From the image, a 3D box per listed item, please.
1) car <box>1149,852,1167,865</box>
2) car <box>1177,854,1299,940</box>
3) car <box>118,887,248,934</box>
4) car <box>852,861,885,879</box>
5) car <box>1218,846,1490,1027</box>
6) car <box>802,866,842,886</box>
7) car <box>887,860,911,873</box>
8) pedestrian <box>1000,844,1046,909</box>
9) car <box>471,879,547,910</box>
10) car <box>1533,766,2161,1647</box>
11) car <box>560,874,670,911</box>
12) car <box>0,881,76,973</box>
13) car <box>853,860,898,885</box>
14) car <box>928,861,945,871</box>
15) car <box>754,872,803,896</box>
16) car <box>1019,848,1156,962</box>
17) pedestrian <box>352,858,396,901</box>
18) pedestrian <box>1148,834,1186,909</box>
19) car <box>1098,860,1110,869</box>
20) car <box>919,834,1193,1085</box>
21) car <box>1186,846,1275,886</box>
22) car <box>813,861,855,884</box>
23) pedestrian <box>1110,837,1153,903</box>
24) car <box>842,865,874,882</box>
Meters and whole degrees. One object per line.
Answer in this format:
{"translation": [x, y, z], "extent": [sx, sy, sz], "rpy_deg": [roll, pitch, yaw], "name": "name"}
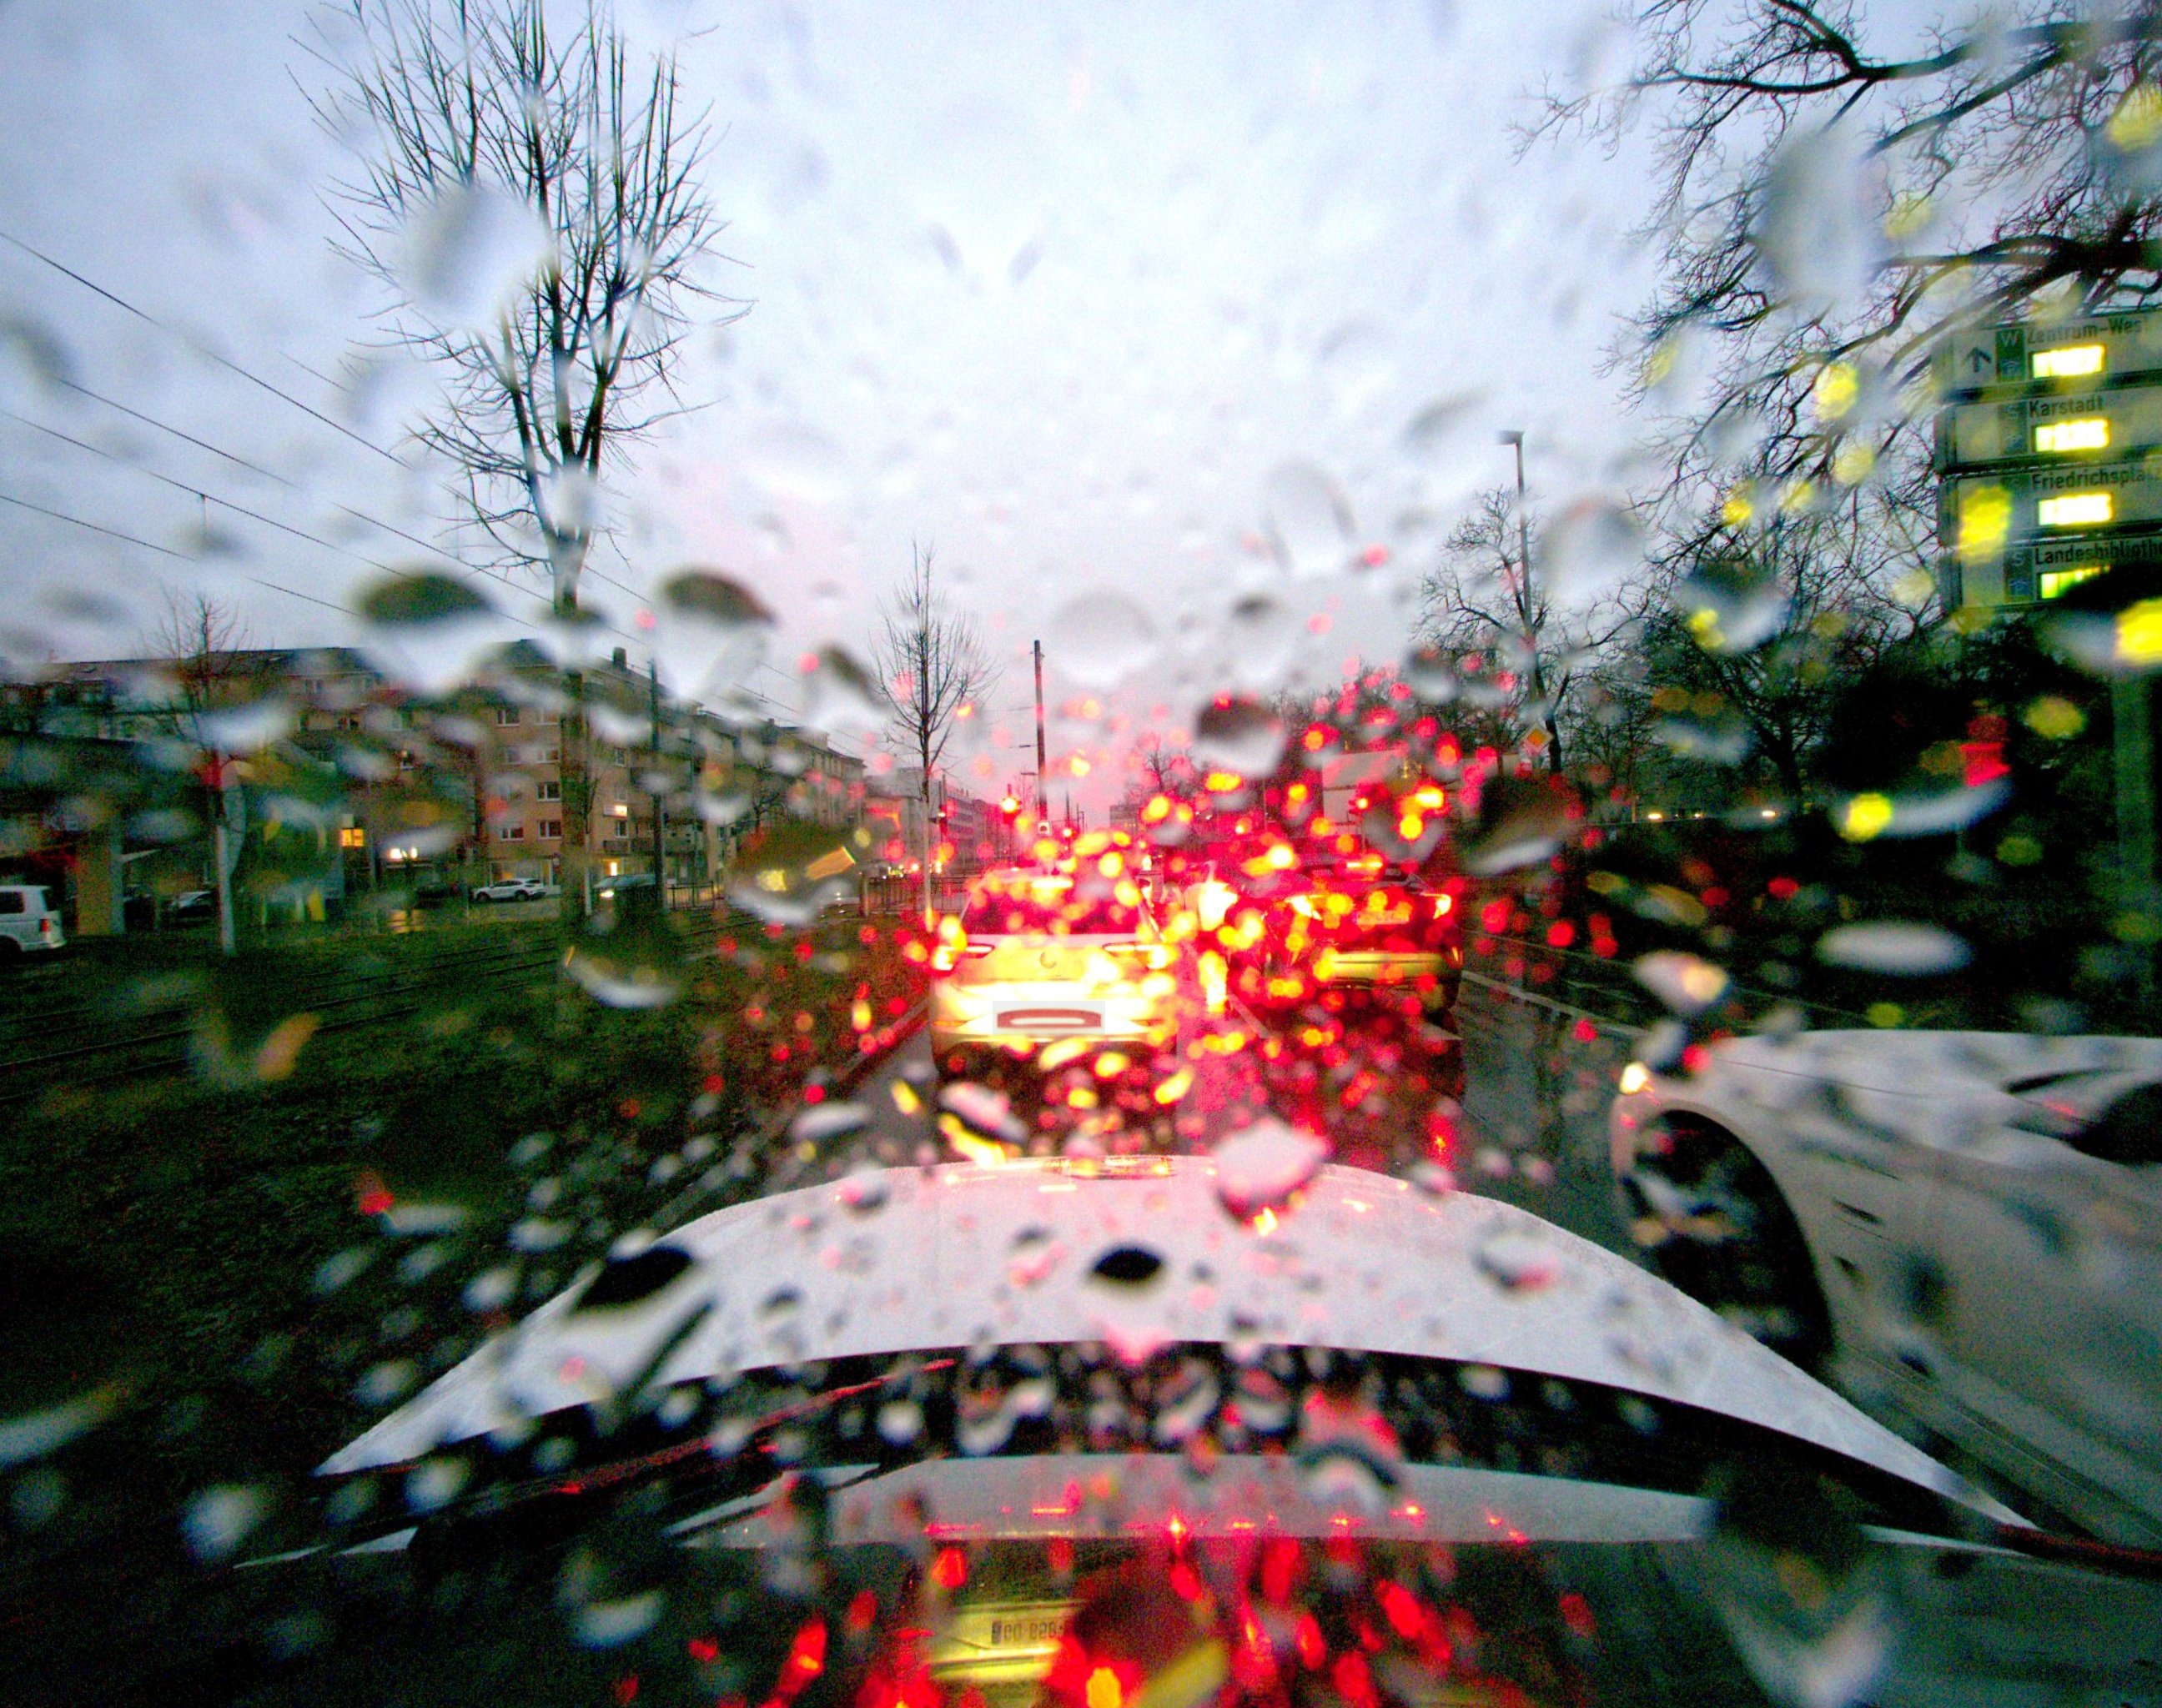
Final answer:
{"translation": [8.814, 0.488, 93.496], "extent": [1.731, 1.419, 3.705], "rpy_deg": [-2, 0, 2], "name": "car"}
{"translation": [2.846, 0.732, 15.506], "extent": [1.738, 1.433, 3.733], "rpy_deg": [0, 0, 2], "name": "car"}
{"translation": [-43.079, 2.649, 39.215], "extent": [1.886, 2.014, 3.876], "rpy_deg": [0, 0, 2], "name": "car"}
{"translation": [-19.967, 1.480, 76.585], "extent": [1.942, 1.602, 4.002], "rpy_deg": [0, 0, 2], "name": "car"}
{"translation": [2.692, 0.719, 9.011], "extent": [1.793, 1.511, 3.897], "rpy_deg": [-2, 0, 2], "name": "car"}
{"translation": [-22.120, 1.887, 69.720], "extent": [1.942, 1.602, 4.002], "rpy_deg": [0, 0, 2], "name": "car"}
{"translation": [-23.026, 1.604, 103.006], "extent": [1.942, 1.602, 4.002], "rpy_deg": [0, 0, 2], "name": "car"}
{"translation": [-1.842, 0.705, 25.892], "extent": [1.012, 2.013, 0.951], "rpy_deg": [-2, 0, -38], "name": "pedestrian"}
{"translation": [-38.553, 2.719, 55.003], "extent": [3.743, 1.942, 1.838], "rpy_deg": [0, 0, -6], "name": "car"}
{"translation": [2.824, 0.590, 0.829], "extent": [1.857, 1.556, 4.935], "rpy_deg": [-2, 0, -1], "name": "car"}
{"translation": [-18.820, 1.513, 33.125], "extent": [1.852, 1.332, 4.317], "rpy_deg": [0, 0, 2], "name": "car"}
{"translation": [-28.639, 1.846, 19.936], "extent": [4.859, 2.244, 1.975], "rpy_deg": [0, -1, -44], "name": "car"}
{"translation": [-14.001, 1.238, 55.687], "extent": [1.986, 1.602, 4.001], "rpy_deg": [0, 0, 1], "name": "car"}
{"translation": [-23.083, 1.916, 130.114], "extent": [1.942, 1.602, 4.002], "rpy_deg": [0, 0, 2], "name": "car"}
{"translation": [-18.797, 1.833, 50.806], "extent": [1.688, 1.277, 4.142], "rpy_deg": [-2, 0, -4], "name": "car"}
{"translation": [0.174, 0.683, 13.290], "extent": [1.792, 1.466, 4.588], "rpy_deg": [-2, 0, 2], "name": "car"}
{"translation": [-34.095, 1.225, 39.303], "extent": [1.274, 2.013, 1.000], "rpy_deg": [-2, 0, -22], "name": "pedestrian"}
{"translation": [2.408, 0.474, 22.826], "extent": [0.954, 2.013, 1.009], "rpy_deg": [-2, 0, 5], "name": "pedestrian"}
{"translation": [3.728, 1.674, 130.868], "extent": [1.731, 1.419, 4.396], "rpy_deg": [-2, 0, 2], "name": "car"}
{"translation": [-0.161, 0.647, 7.076], "extent": [1.688, 1.533, 3.999], "rpy_deg": [-1, 0, 0], "name": "car"}
{"translation": [7.717, 0.605, 41.871], "extent": [4.237, 1.943, 2.009], "rpy_deg": [0, 0, 18], "name": "car"}
{"translation": [-18.848, 1.392, 62.369], "extent": [1.860, 1.577, 4.001], "rpy_deg": [-2, 0, 2], "name": "car"}
{"translation": [1.593, 0.506, 25.756], "extent": [0.962, 2.013, 1.001], "rpy_deg": [-2, 0, -21], "name": "pedestrian"}
{"translation": [-22.741, 1.946, 83.150], "extent": [1.942, 1.602, 4.002], "rpy_deg": [0, 0, 2], "name": "car"}
